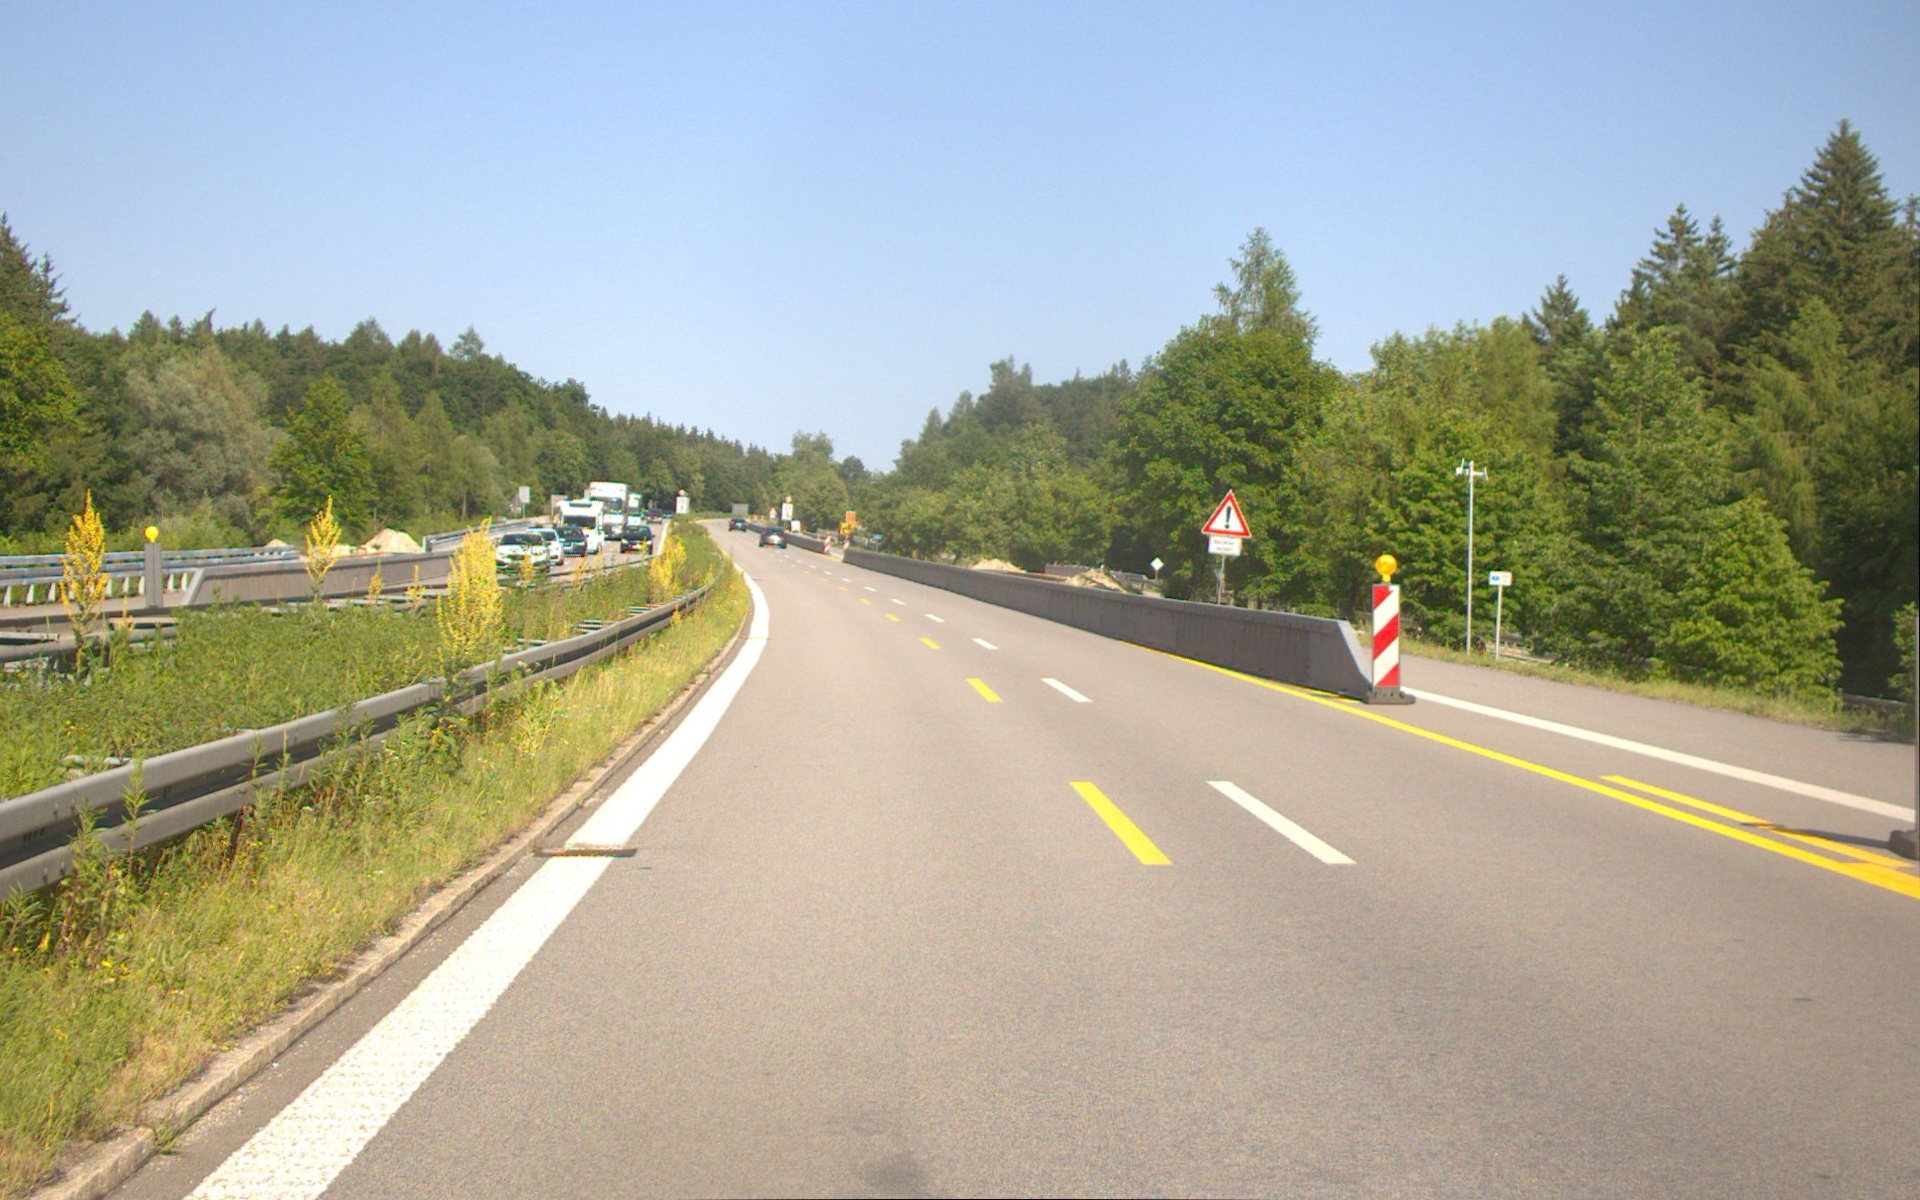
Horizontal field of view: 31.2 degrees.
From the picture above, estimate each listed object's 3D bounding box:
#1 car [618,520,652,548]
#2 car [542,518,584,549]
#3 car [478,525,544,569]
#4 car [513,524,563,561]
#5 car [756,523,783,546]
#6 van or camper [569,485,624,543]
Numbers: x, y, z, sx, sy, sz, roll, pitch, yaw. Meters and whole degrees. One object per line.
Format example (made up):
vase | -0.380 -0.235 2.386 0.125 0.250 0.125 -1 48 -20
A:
car | -17.903 -3.635 189.524 1.741 1.525 4.001 0 1 -3
car | -19.275 -3.245 166.954 1.741 1.427 5.236 -1 2 -4
car | -15.247 -1.809 117.006 1.883 1.427 4.985 2 1 -4
car | -16.747 -2.293 136.464 1.701 1.427 4.957 0 1 -4
car | -13.206 -4.551 238.112 1.743 1.461 4.295 3 1 -5
van or camper | -19.056 -4.506 180.565 2.405 2.940 7.524 2 1 -3
